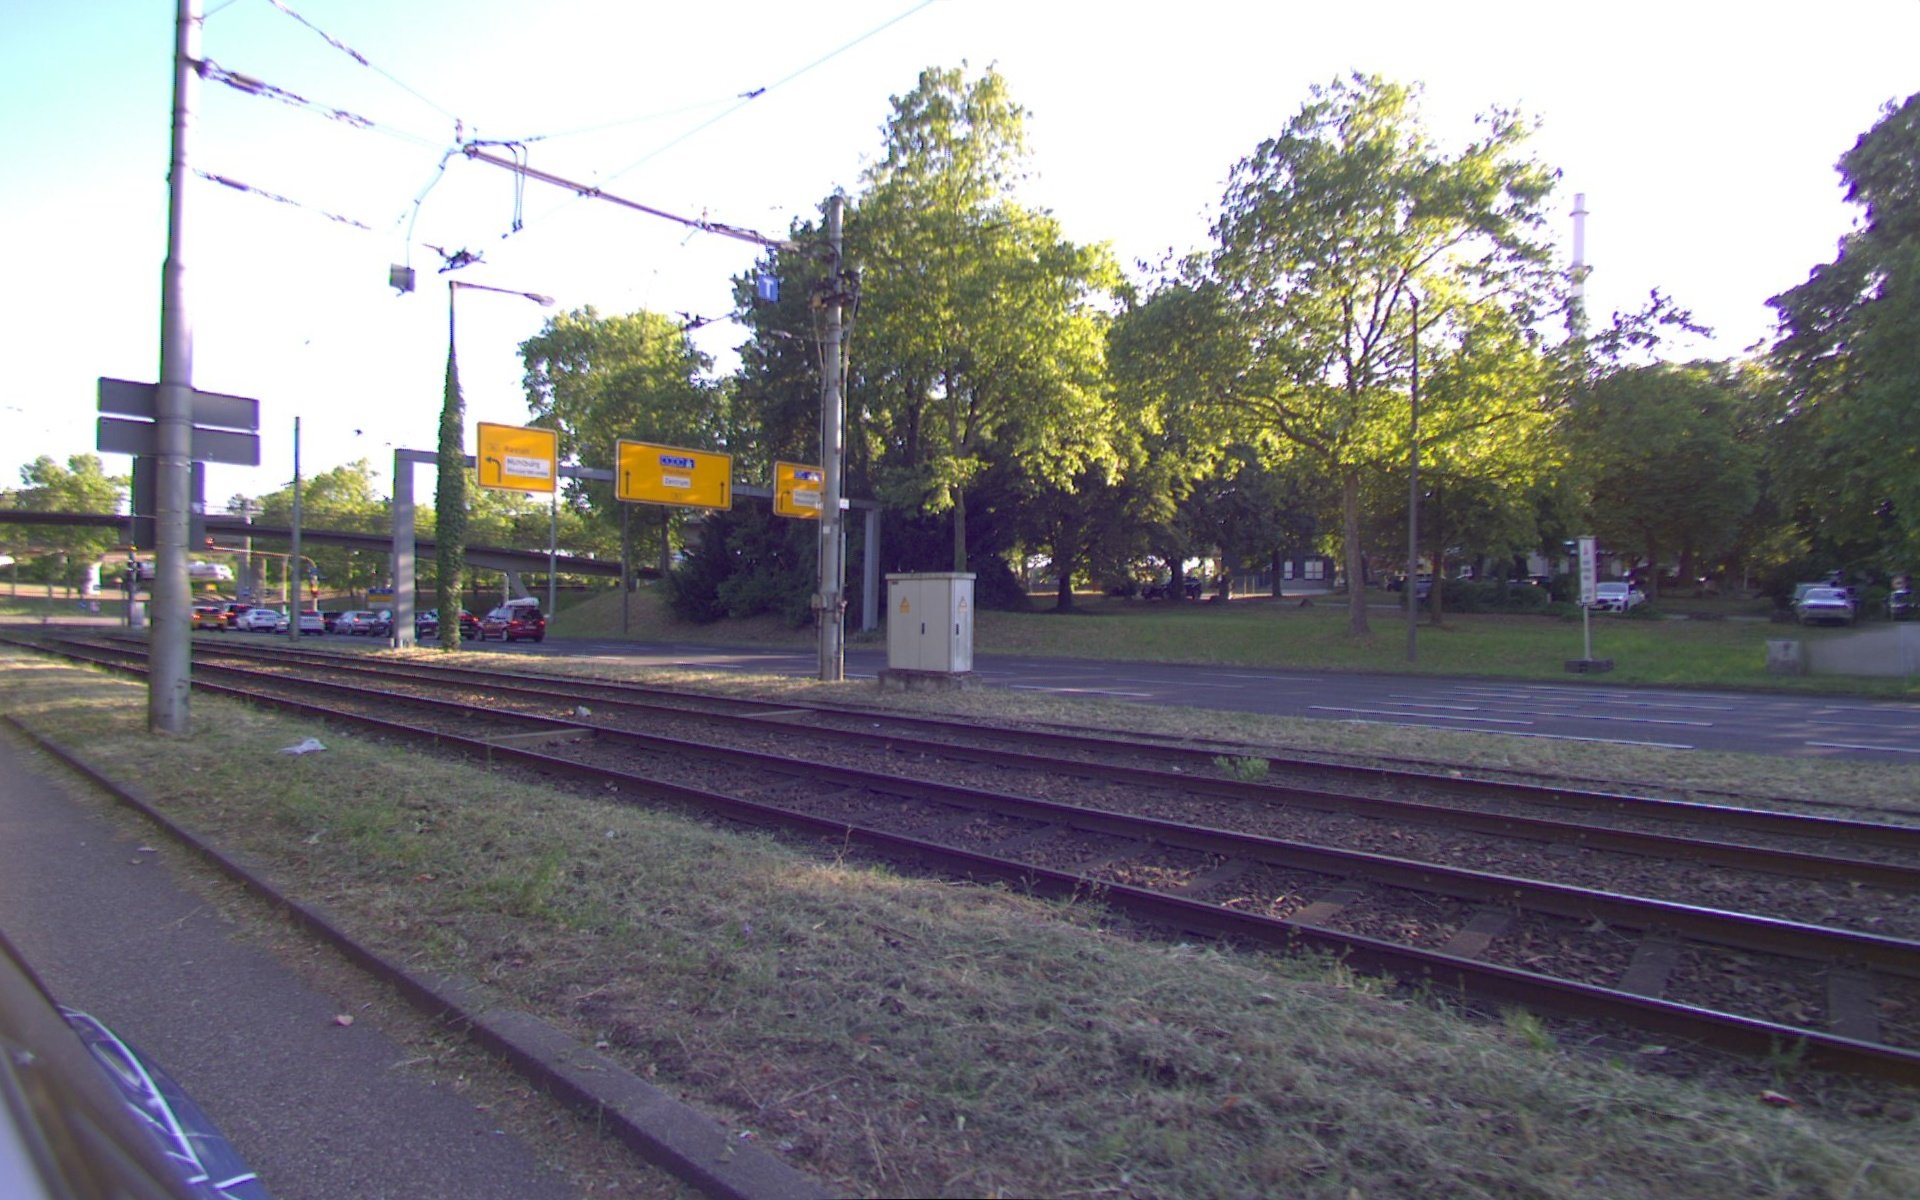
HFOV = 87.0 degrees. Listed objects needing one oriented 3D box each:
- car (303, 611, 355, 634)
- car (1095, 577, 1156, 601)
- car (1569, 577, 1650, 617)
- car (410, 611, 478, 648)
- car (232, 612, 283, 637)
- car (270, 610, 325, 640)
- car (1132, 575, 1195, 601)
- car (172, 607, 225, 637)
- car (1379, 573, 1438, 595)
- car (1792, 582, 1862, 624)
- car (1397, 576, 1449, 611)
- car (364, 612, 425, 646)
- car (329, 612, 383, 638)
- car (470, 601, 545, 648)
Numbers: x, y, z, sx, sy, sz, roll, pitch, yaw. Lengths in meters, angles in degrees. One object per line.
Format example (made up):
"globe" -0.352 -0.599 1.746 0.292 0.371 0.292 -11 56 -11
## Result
"car" -41.664 1.481 66.814 4.475 1.393 1.773 0 1 42
"car" 11.294 -0.723 68.903 3.933 1.564 1.812 0 0 -34
"car" 29.424 -0.139 45.814 4.826 1.719 2.002 -1 1 -43
"car" -26.678 1.497 52.263 4.240 1.763 1.773 0 0 42
"car" -43.390 1.500 62.484 4.413 1.443 1.722 0 -3 44
"car" -38.019 1.413 58.023 4.190 1.577 1.645 0 0 42
"car" 12.500 -0.716 62.089 3.939 1.564 1.810 0 0 -43
"car" -43.151 1.237 57.309 3.999 1.577 1.645 0 0 42
"car" 33.418 -1.153 75.487 3.976 1.564 1.793 0 0 25
"car" 35.054 0.108 40.892 2.043 1.586 4.341 0 0 42
"car" 23.537 -0.341 51.355 1.823 1.700 4.178 0 0 33
"car" -31.782 1.604 56.847 3.999 1.763 1.773 0 0 42
"car" -37.228 1.539 62.396 3.999 1.492 1.773 0 0 42
"car" -21.394 1.122 47.806 3.999 2.121 1.773 0 0 42
